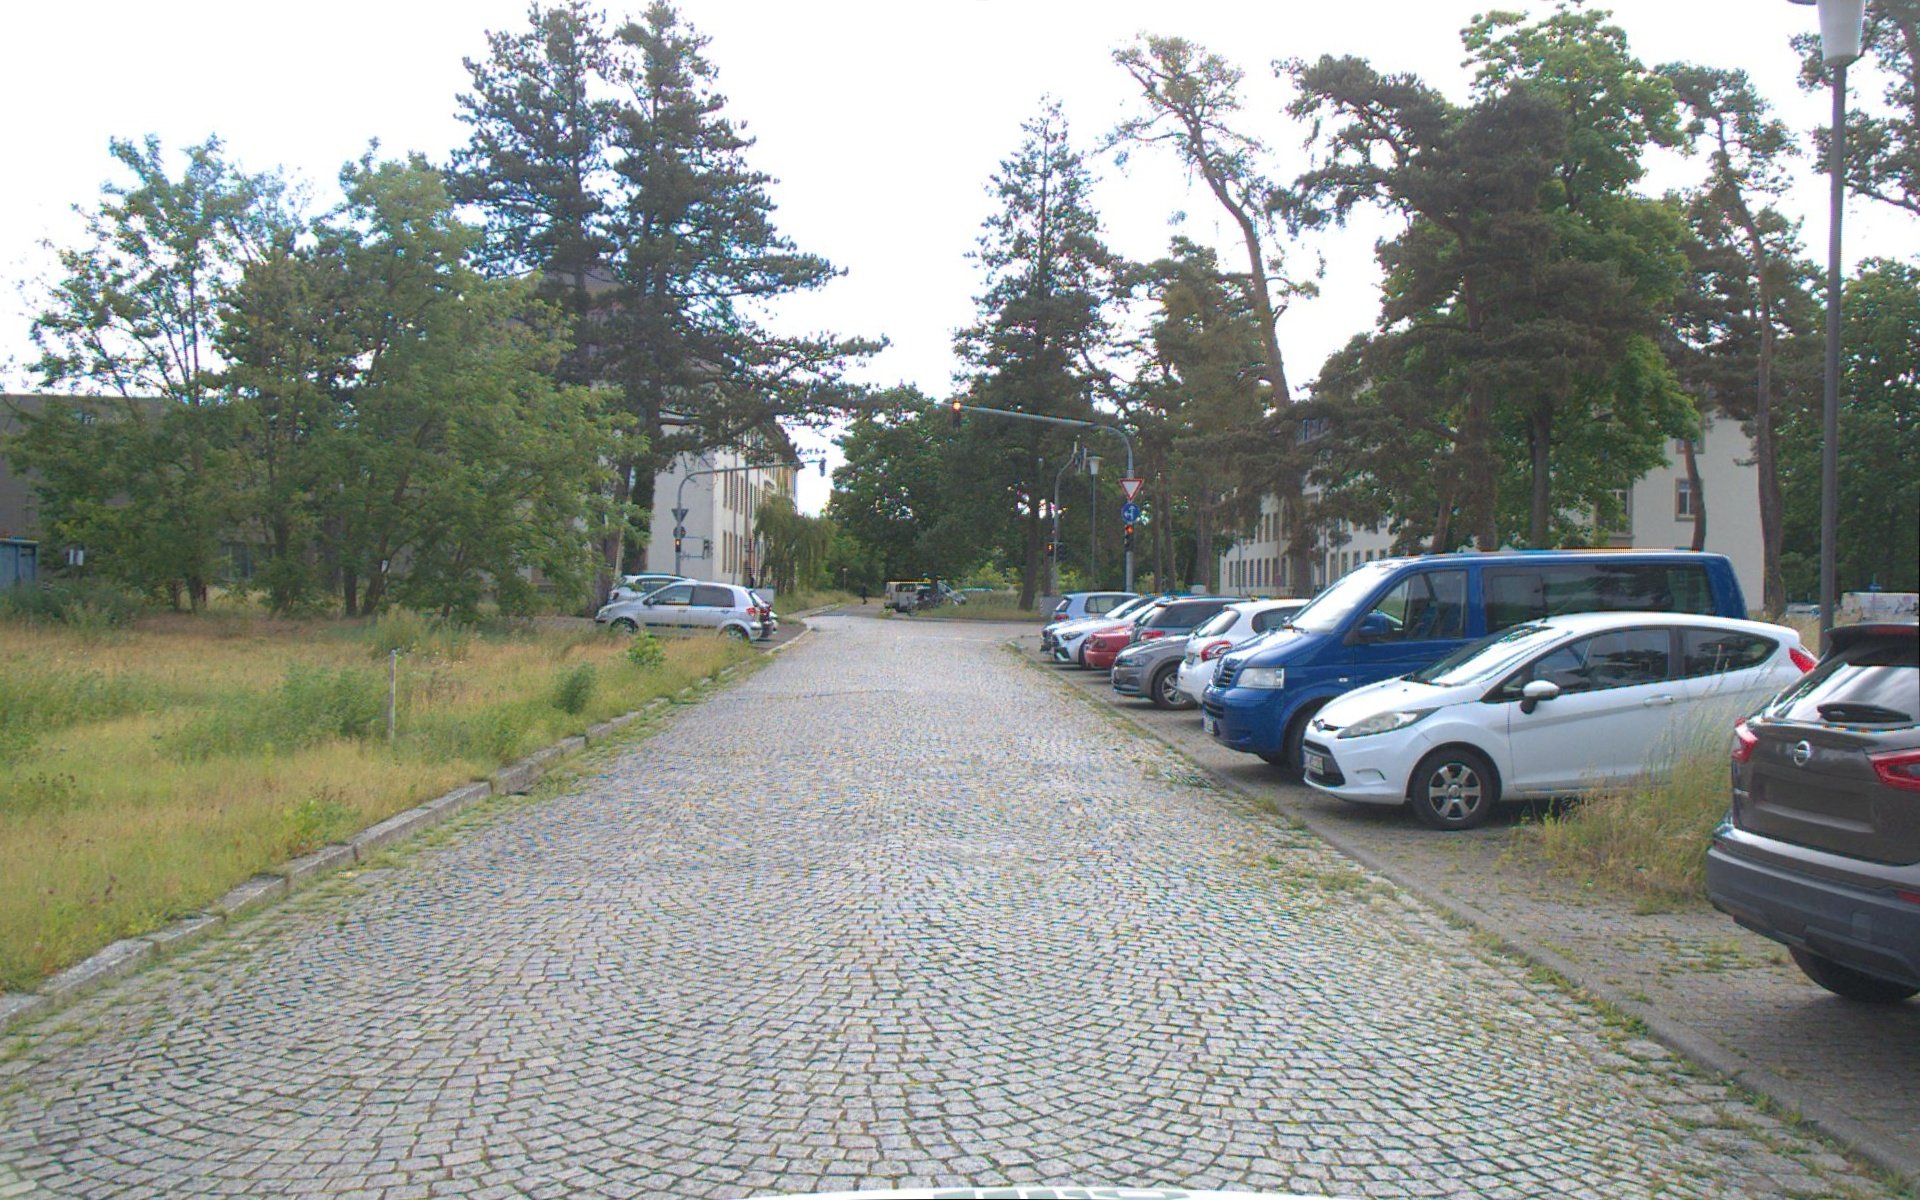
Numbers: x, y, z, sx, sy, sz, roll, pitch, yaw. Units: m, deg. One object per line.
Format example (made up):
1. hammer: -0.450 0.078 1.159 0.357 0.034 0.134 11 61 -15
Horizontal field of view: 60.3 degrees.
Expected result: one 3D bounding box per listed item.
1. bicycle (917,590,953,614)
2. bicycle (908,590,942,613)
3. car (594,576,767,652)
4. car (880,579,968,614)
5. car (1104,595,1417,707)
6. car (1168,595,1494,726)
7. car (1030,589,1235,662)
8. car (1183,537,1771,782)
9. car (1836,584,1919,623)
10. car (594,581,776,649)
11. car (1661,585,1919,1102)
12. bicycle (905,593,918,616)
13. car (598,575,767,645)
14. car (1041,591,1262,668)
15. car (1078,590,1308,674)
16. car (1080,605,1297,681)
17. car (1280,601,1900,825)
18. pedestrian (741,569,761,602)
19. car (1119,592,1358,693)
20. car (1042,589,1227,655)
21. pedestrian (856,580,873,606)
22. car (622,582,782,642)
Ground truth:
1. bicycle: -1.359 0.112 90.579 1.846 1.191 0.664 2 0 -8
2. bicycle: -1.981 0.077 94.052 1.846 1.191 0.664 2 0 -8
3. car: -6.256 0.301 37.301 3.648 1.506 1.671 3 0 -5
4. car: -2.315 -0.205 105.350 5.286 2.138 2.170 1 0 -15
5. car: 4.128 0.685 23.144 4.047 1.472 1.765 0 1 -2
6. car: 4.466 0.701 20.252 3.580 1.504 1.765 0 0 -3
7. car: 3.745 0.526 36.098 4.155 1.505 1.704 0 1 -13
8. car: 4.531 0.479 14.942 4.701 2.039 1.965 0 0 -4
9. car: 52.880 0.227 93.811 5.193 2.055 2.105 2 0 -2
10. car: -6.579 0.345 39.886 4.217 1.581 1.809 0 1 -8
11. car: 5.030 0.755 6.058 4.121 1.623 1.951 0 1 -5
12. bicycle: -2.527 0.228 85.894 0.649 1.191 1.887 2 0 -2
13. car: -7.104 0.240 42.670 4.217 1.762 1.650 0 0 -8
14. car: 3.826 0.570 33.333 4.108 1.462 1.751 0 1 -10
15. car: 4.314 0.580 30.990 4.024 1.502 1.683 0 0 -4
16. car: 3.907 0.730 28.630 3.514 1.244 1.628 0 1 -1
17. car: 4.598 0.778 12.400 4.018 1.504 1.720 0 0 -5
18. pedestrian: -12.981 -0.906 102.602 1.053 1.993 1.121 2 0 -2
19. car: 4.320 0.637 26.020 3.435 1.513 1.742 0 0 -3
20. car: 4.049 0.491 38.665 4.057 1.489 1.631 0 0 -8
21. pedestrian: -7.794 -0.574 135.040 1.216 1.993 1.119 2 0 -7
22. car: -7.009 0.309 45.130 4.217 1.581 1.809 0 1 -8
